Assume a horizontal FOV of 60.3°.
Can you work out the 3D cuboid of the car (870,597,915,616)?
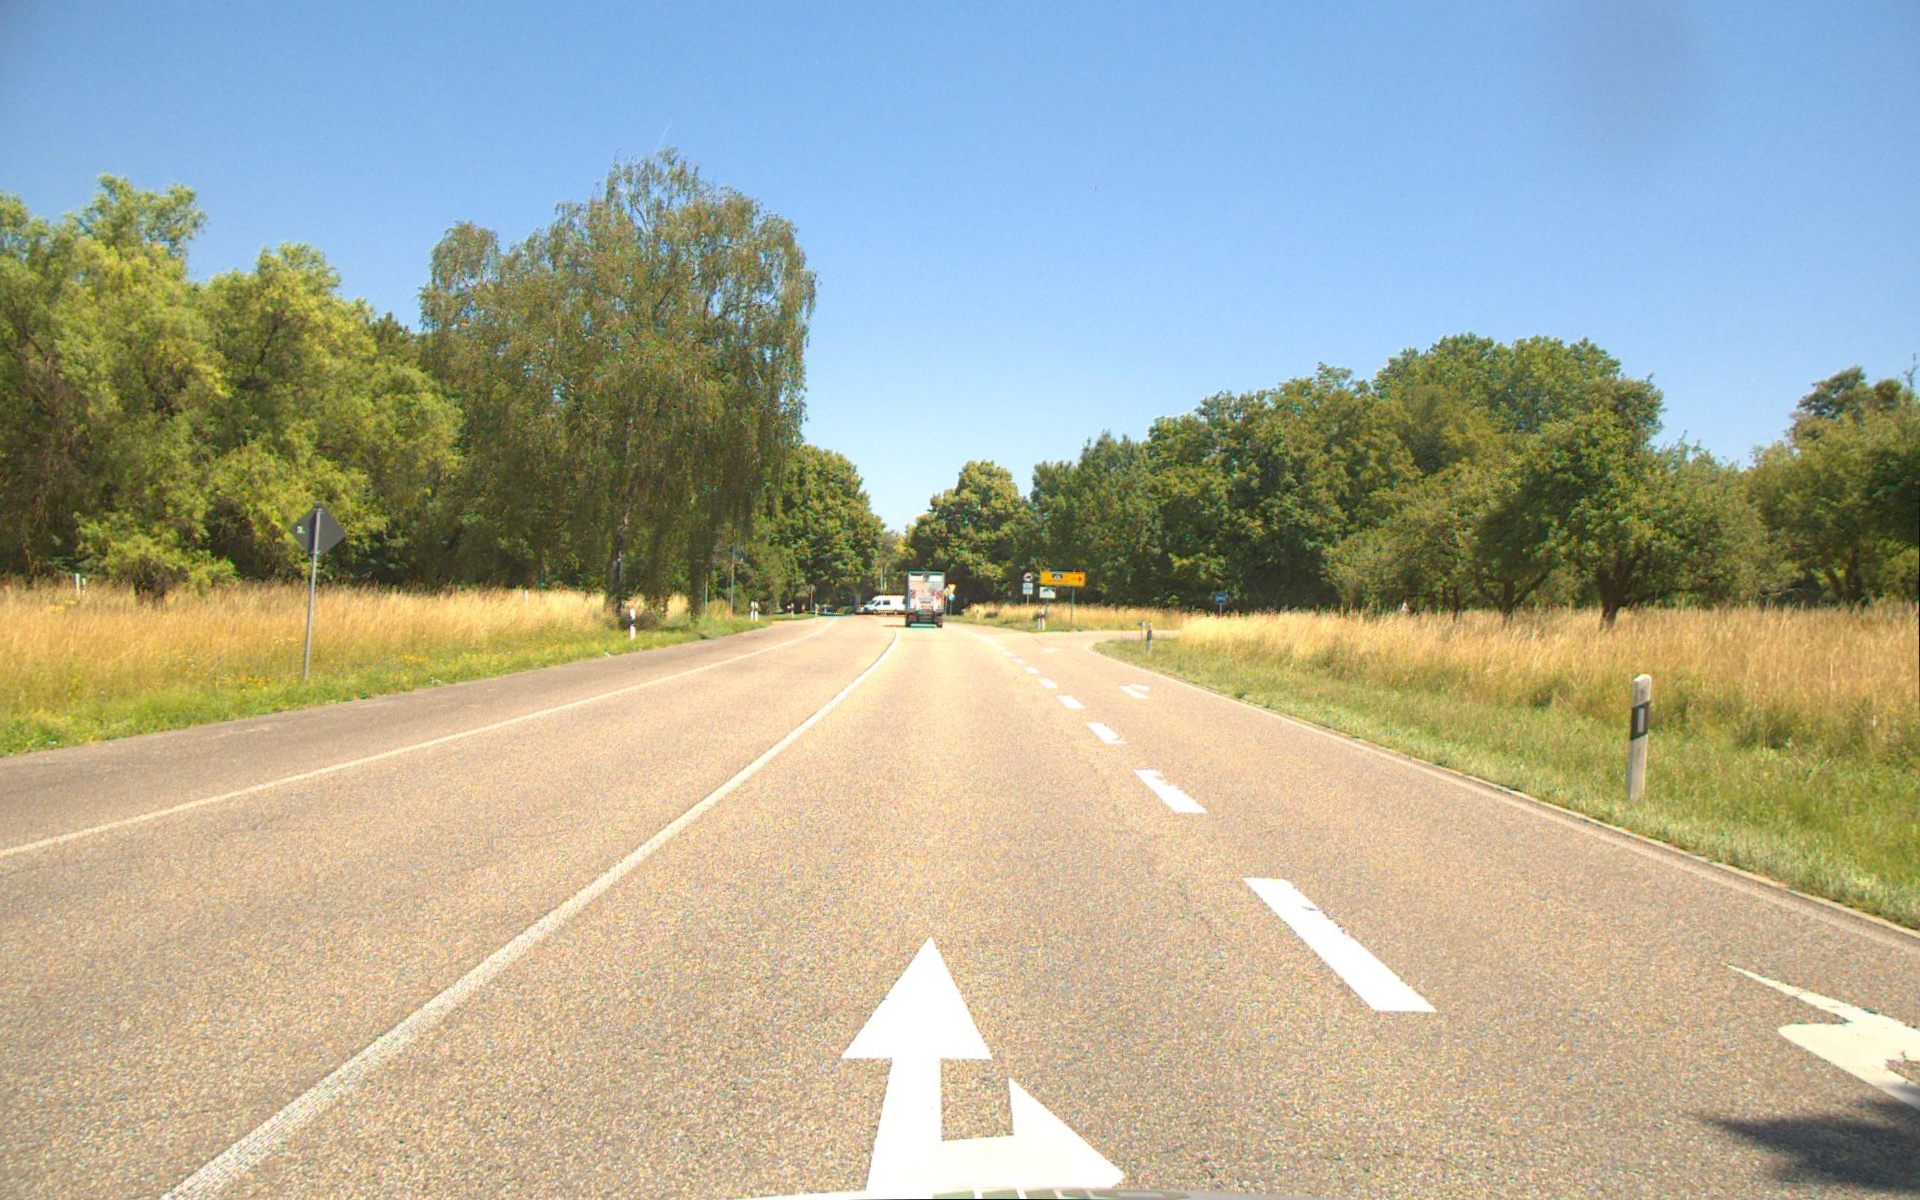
[{"bbox_3d":[-9.771,0.903,239.962,6.713,2.674,2.052,1,-1,-38],"label":"car"}]

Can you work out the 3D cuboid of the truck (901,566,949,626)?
[{"bbox_3d":[-1.907,-0.246,92.198,2.482,3.190,5.361,1,0,0],"label":"truck"}]
